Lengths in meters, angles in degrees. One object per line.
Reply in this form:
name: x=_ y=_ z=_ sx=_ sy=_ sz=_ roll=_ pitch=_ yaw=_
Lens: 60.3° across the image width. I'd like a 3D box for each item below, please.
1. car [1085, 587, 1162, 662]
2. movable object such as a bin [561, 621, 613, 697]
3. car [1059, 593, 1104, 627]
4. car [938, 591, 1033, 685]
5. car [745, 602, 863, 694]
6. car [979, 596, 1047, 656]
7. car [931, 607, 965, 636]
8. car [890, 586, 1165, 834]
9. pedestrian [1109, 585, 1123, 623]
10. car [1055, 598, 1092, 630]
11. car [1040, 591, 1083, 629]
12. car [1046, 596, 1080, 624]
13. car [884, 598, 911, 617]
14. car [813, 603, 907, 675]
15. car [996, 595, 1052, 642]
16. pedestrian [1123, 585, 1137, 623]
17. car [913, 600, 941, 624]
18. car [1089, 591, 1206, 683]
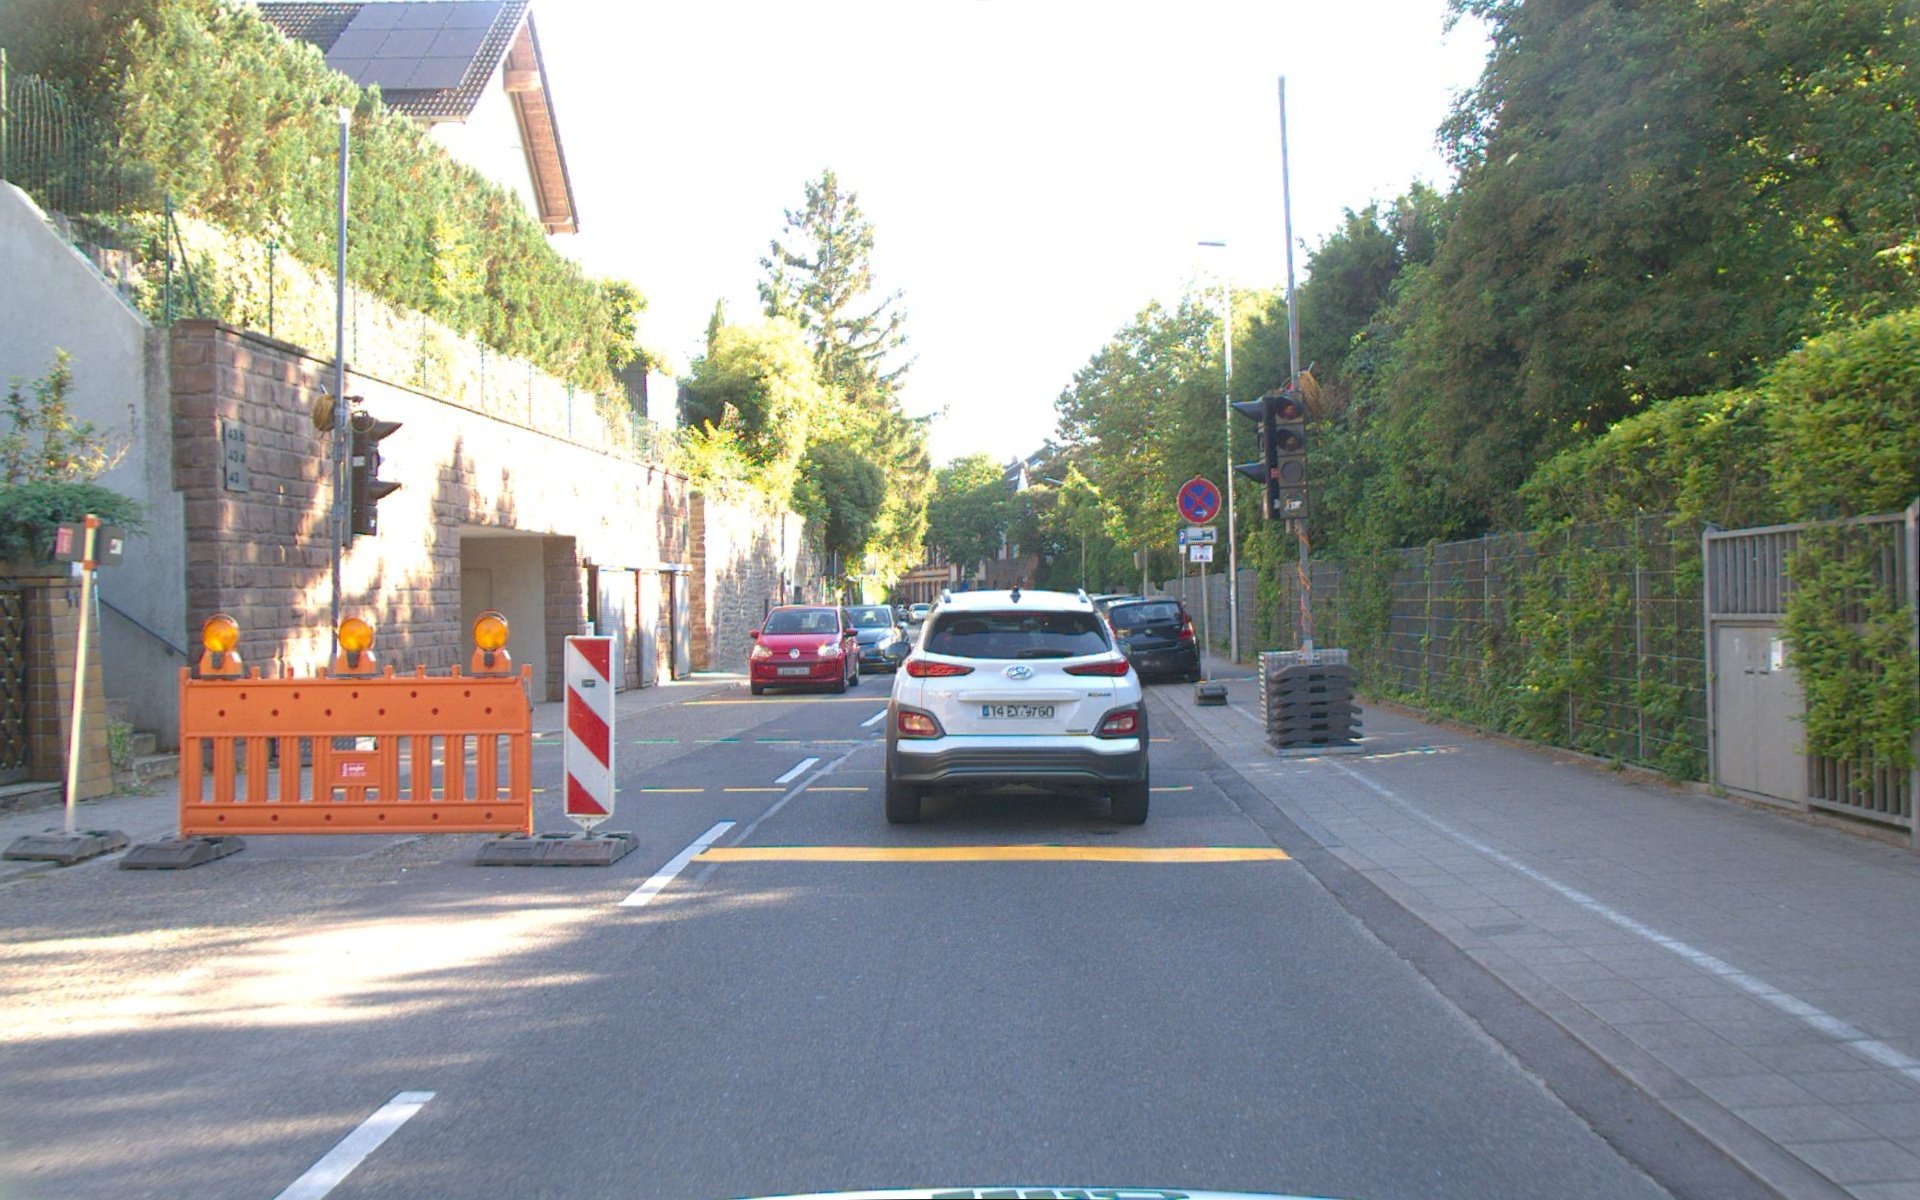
car: x=3.886 y=0.576 z=39.504 sx=1.618 sy=1.591 sz=2.874 roll=-6 pitch=-1 yaw=5
movable object such as a bin: x=-6.124 y=0.960 z=27.169 sx=0.644 sy=1.196 sz=0.666 roll=-2 pitch=0 yaw=3
car: x=6.118 y=0.503 z=83.613 sx=1.562 sy=1.592 sz=3.995 roll=-3 pitch=-1 yaw=-5
car: x=0.504 y=0.636 z=29.680 sx=1.480 sy=1.560 sz=3.549 roll=-1 pitch=0 yaw=4
car: x=-2.644 y=0.793 z=28.737 sx=1.593 sy=1.446 sz=3.563 roll=-2 pitch=0 yaw=1
car: x=1.423 y=0.659 z=43.268 sx=1.537 sy=1.503 sz=3.550 roll=0 pitch=0 yaw=6
car: x=-0.630 y=1.142 z=89.790 sx=1.518 sy=1.492 sz=3.570 roll=-3 pitch=0 yaw=3
car: x=0.434 y=0.696 z=12.470 sx=1.736 sy=1.569 sz=4.000 roll=0 pitch=0 yaw=0
pedestrian: x=6.745 y=0.171 z=71.543 sx=0.492 sy=1.634 sz=0.491 roll=-3 pitch=-1 yaw=3
car: x=6.051 y=0.746 z=88.397 sx=1.561 sy=1.545 sz=3.931 roll=-4 pitch=-1 yaw=-1
car: x=4.535 y=0.421 z=73.373 sx=1.658 sy=1.472 sz=3.885 roll=-4 pitch=1 yaw=6
car: x=5.842 y=0.555 z=94.360 sx=1.561 sy=1.515 sz=3.601 roll=-4 pitch=0 yaw=-1
car: x=-5.646 y=0.641 z=149.213 sx=1.726 sy=1.645 sz=3.986 roll=0 pitch=0 yaw=-14
car: x=-2.118 y=0.816 z=36.002 sx=1.615 sy=1.435 sz=3.932 roll=-2 pitch=0 yaw=2
car: x=2.281 y=0.625 z=57.808 sx=1.658 sy=1.560 sz=3.884 roll=0 pitch=0 yaw=6
pedestrian: x=7.323 y=0.177 z=71.307 sx=0.492 sy=1.596 sz=0.504 roll=-3 pitch=-1 yaw=3
car: x=-2.306 y=0.825 z=114.776 sx=1.707 sy=1.500 sz=3.997 roll=-4 pitch=-1 yaw=-3
car: x=3.229 y=0.603 z=29.148 sx=1.757 sy=1.466 sz=4.001 roll=-1 pitch=0 yaw=3
